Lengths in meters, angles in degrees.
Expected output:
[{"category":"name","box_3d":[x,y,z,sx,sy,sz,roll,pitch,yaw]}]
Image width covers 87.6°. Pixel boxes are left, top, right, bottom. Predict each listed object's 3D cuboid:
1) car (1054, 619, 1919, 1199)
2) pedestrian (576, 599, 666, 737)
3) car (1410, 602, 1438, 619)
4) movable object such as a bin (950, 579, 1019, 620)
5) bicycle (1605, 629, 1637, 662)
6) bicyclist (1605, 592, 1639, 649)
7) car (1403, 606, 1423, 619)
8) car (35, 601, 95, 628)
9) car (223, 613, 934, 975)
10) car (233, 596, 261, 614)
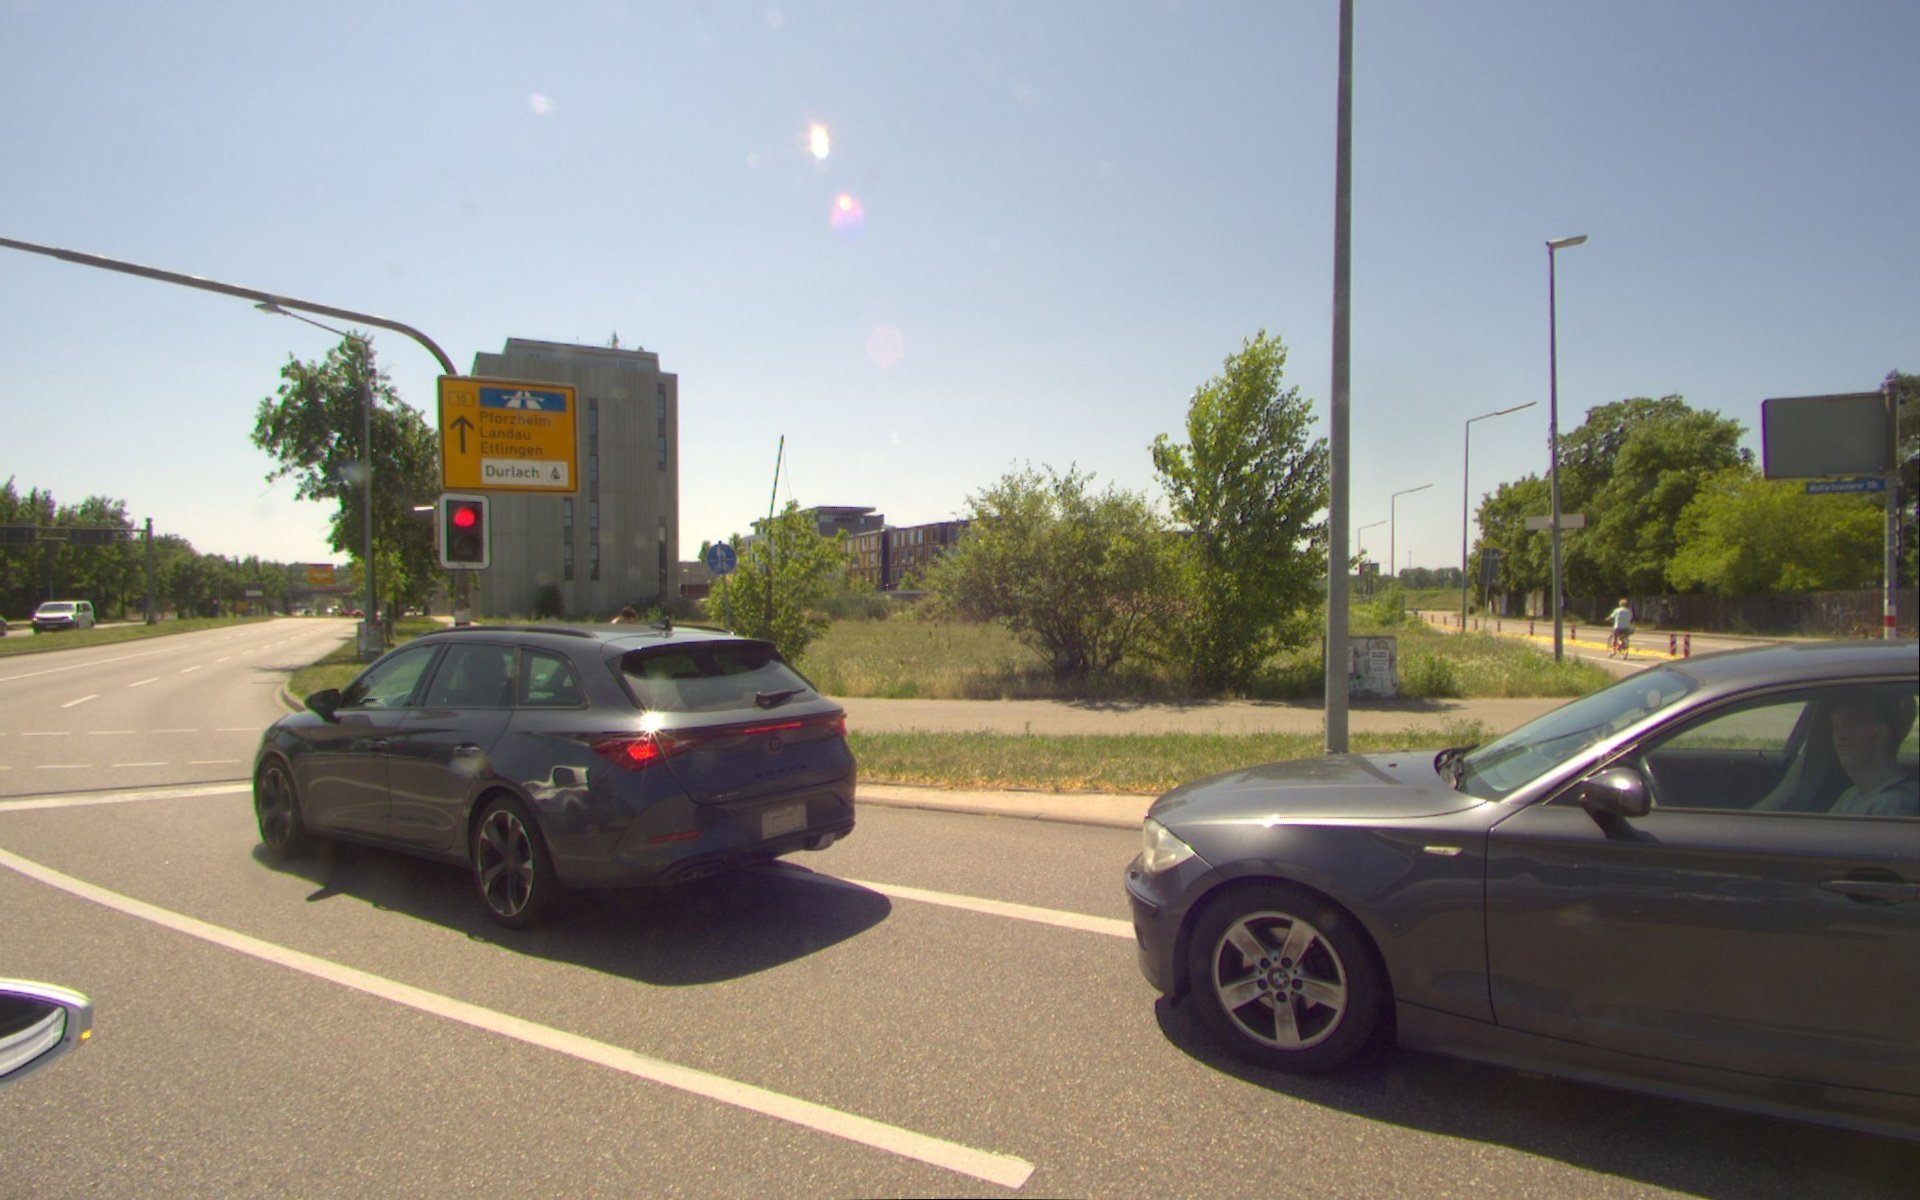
[{"category":"car","box_3d":[2.504,0.792,3.330,4.020,1.421,1.745,0,-1,31]},{"category":"pedestrian","box_3d":[-4.339,0.839,12.808,0.942,1.659,0.753,-2,1,-29]},{"category":"car","box_3d":[42.220,0.946,91.220,1.728,1.565,3.689,0,0,16]},{"category":"movable object such as a bin","box_3d":[2.140,-0.049,83.740,2.770,3.190,7.577,-1,0,26]},{"category":"bicycle","box_3d":[19.638,1.328,29.748,0.621,0.891,1.862,0,0,39]},{"category":"bicyclist","box_3d":[19.655,0.608,29.735,0.739,1.662,1.154,1,1,39]},{"category":"car","box_3d":[55.846,1.479,123.430,1.728,1.565,3.689,0,0,16]},{"category":"car","box_3d":[-52.652,0.847,58.996,1.842,1.575,3.979,0,0,-30]},{"category":"car","box_3d":[-2.501,0.815,6.153,4.395,1.437,1.988,0,0,35]},{"category":"car","box_3d":[-73.986,0.523,103.950,1.780,1.714,4.123,-2,0,-28]}]
